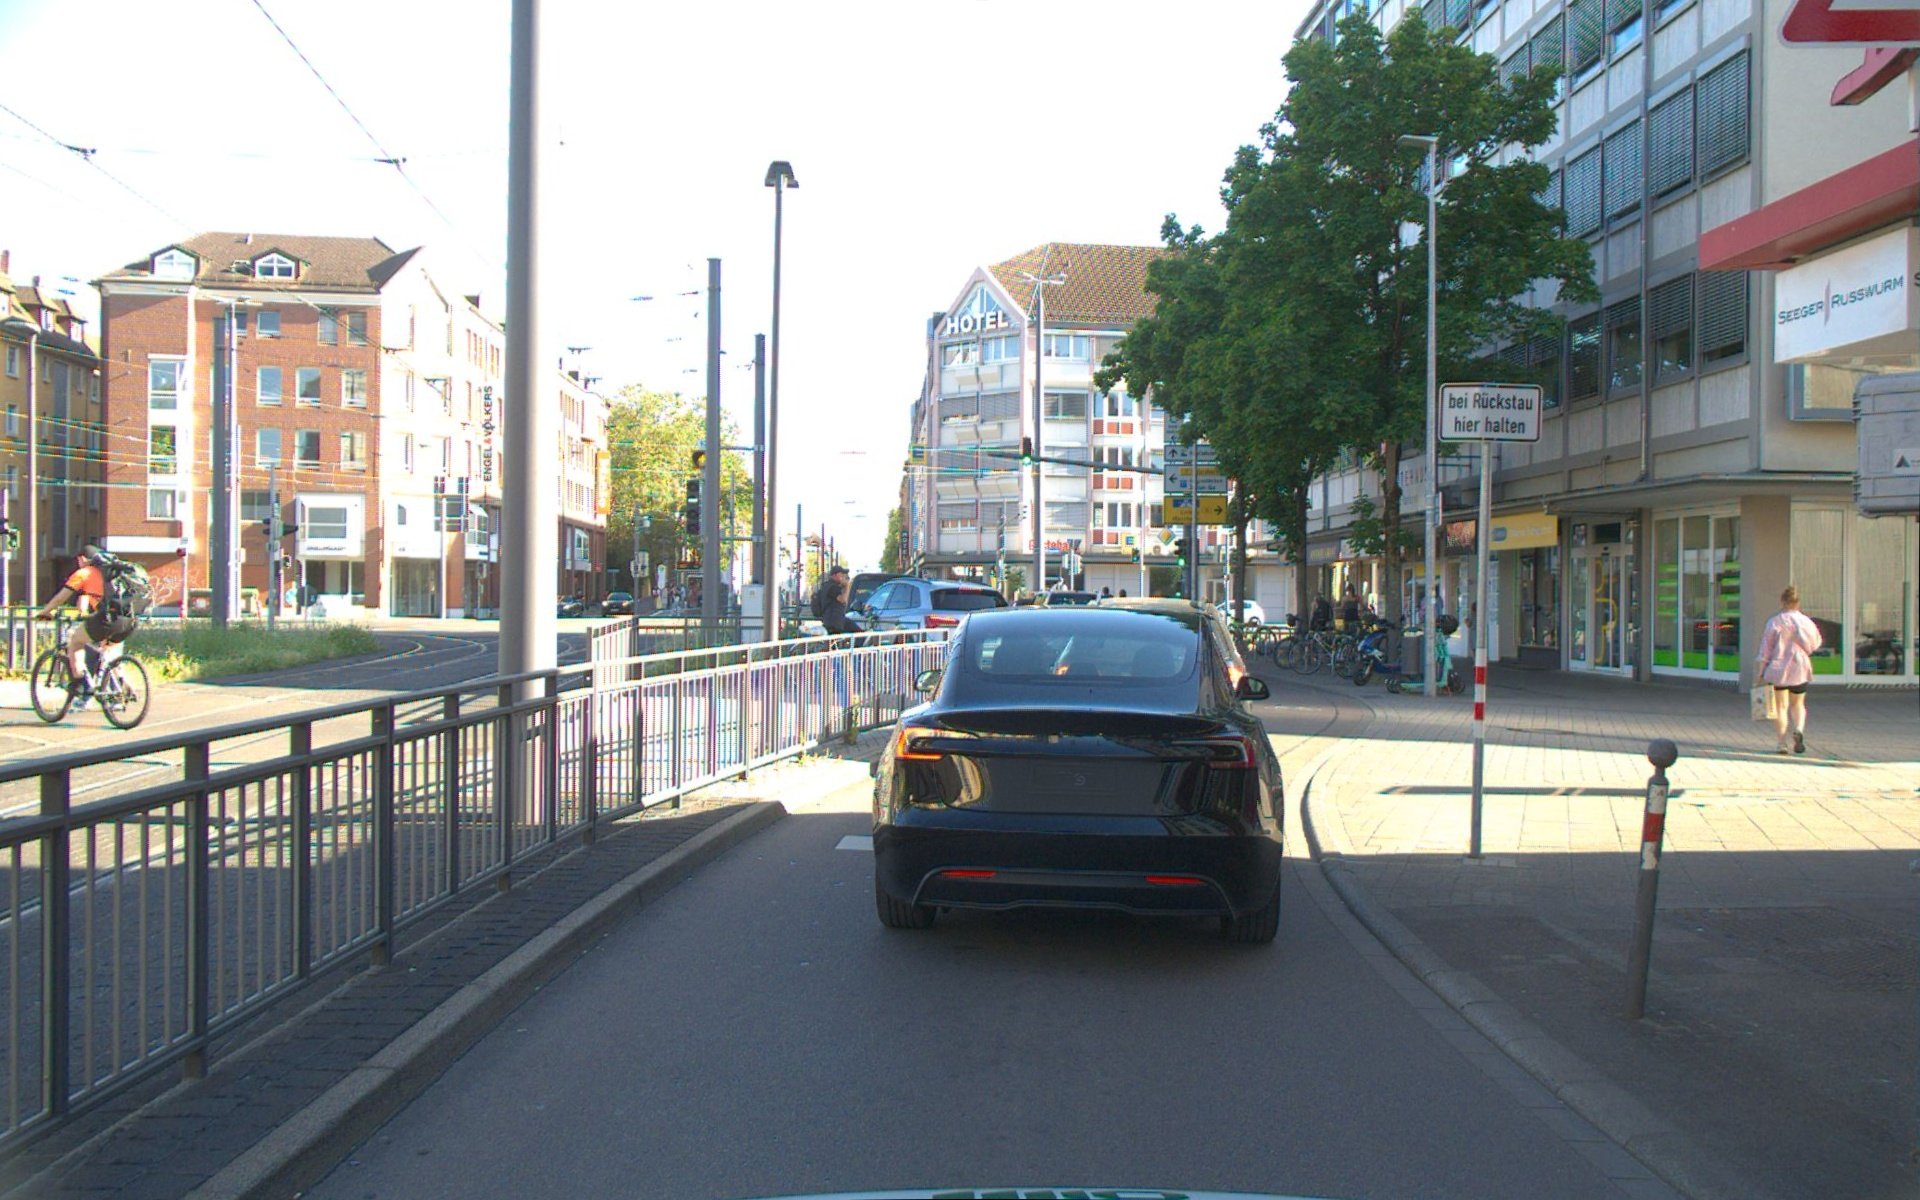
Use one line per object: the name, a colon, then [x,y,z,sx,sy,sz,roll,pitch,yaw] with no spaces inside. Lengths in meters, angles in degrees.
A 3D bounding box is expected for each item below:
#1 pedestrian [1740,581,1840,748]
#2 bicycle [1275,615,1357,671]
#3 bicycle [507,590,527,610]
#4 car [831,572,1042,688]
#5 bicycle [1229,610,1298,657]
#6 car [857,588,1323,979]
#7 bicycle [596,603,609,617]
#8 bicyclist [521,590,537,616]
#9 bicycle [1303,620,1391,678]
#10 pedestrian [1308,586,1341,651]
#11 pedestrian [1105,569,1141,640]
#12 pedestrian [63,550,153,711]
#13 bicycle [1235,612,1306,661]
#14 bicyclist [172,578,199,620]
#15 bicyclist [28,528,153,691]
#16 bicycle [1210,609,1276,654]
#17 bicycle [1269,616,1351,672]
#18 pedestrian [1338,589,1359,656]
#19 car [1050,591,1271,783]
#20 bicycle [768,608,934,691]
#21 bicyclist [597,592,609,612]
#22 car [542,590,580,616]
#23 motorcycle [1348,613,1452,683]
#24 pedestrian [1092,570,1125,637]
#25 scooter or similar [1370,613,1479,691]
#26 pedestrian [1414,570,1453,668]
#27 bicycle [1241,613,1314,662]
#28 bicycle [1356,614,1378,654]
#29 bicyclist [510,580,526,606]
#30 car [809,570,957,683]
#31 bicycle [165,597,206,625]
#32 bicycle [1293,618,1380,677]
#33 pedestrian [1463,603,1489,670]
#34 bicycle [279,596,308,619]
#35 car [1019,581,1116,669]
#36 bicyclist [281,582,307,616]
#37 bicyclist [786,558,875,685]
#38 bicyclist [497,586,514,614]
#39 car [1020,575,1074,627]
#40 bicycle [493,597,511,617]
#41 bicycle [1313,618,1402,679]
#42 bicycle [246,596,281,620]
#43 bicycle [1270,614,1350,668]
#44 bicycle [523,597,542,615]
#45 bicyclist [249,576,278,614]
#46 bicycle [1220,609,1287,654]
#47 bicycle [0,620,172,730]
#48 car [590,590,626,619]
pedestrian: [8.721,0.658,17.417,0.871,1.696,0.808,1,-1,23]
bicycle: [7.329,0.886,34.056,1.620,1.118,0.349,1,-1,-11]
bicycle: [-26.773,0.008,100.002,0.518,1.107,2.284,4,-2,1]
car: [-0.472,0.443,26.413,1.859,1.691,4.125,1,0,-25]
bicycle: [7.422,0.823,40.431,1.616,1.118,0.350,1,-1,1]
car: [0.644,0.718,8.448,1.791,1.481,4.002,1,0,4]
bicycle: [-28.870,0.789,133.663,0.518,1.107,2.225,1,0,1]
bicyclist: [-26.673,0.198,102.384,0.767,1.590,0.746,0,0,1]
bicycle: [7.376,0.933,31.538,1.620,1.079,0.349,1,-1,-11]
pedestrian: [9.595,0.490,43.566,0.685,1.691,0.777,1,-1,-1]
pedestrian: [4.765,0.133,48.346,0.902,2.049,0.972,1,-1,-1]
pedestrian: [-9.287,0.333,18.049,0.579,1.710,0.774,1,-1,-3]
bicycle: [7.393,0.870,39.417,1.616,1.118,0.350,1,-1,1]
bicyclist: [-28.272,-0.033,60.401,0.620,1.529,0.696,1,-1,-1]
bicyclist: [-8.453,0.085,16.081,1.018,1.548,0.392,1,-1,10]
bicycle: [7.287,0.804,42.569,1.616,1.118,0.350,1,-1,1]
bicycle: [7.089,0.890,33.485,1.620,1.118,0.349,1,-1,-11]
pedestrian: [10.275,0.597,43.704,0.515,1.740,0.404,1,-1,12]
car: [1.769,0.672,15.024,1.714,1.480,4.003,1,0,6]
bicycle: [-1.454,0.657,22.464,2.313,1.072,0.622,1,-1,-39]
bicyclist: [-28.856,0.155,133.764,0.767,1.590,0.746,1,-1,1]
car: [-24.673,0.160,102.418,1.677,1.553,4.031,1,0,-5]
motorcycle: [7.802,0.843,29.360,1.673,1.194,0.541,1,-1,-3]
pedestrian: [4.601,0.110,51.374,0.902,2.049,0.972,1,-1,-1]
scooter or similar: [7.656,0.842,27.283,1.610,1.236,0.644,1,-1,30]
pedestrian: [10.015,0.402,34.974,0.648,2.049,0.579,1,-1,1]
bicycle: [7.377,0.868,38.390,1.616,1.118,0.350,1,-1,1]
bicycle: [10.697,0.886,43.518,0.325,1.052,1.257,1,0,3]
bicyclist: [-26.795,-0.430,100.228,0.767,1.590,0.746,0,0,1]
car: [-1.576,0.488,32.416,1.962,2.049,3.981,0,0,-17]
bicycle: [-28.271,0.386,60.416,0.437,0.988,2.246,1,0,-1]
bicycle: [7.272,0.912,31.960,1.620,1.118,0.349,1,-1,-11]
pedestrian: [10.775,0.759,34.553,0.381,1.367,0.513,1,-1,1]
bicycle: [-29.684,0.331,73.661,0.396,0.998,1.695,1,0,7]
car: [2.309,0.528,36.453,1.567,1.809,3.977,1,0,-5]
bicyclist: [-29.676,-0.028,73.669,0.689,1.496,0.973,0,0,7]
bicyclist: [-1.739,0.282,22.179,0.753,1.657,0.964,1,-1,-39]
bicyclist: [-26.748,-0.003,97.288,0.768,1.590,0.746,1,-1,-3]
car: [3.120,0.041,60.123,1.685,1.781,3.753,1,0,-1]
bicycle: [-26.768,0.411,96.728,0.526,1.107,2.223,1,0,-2]
bicycle: [7.473,0.921,31.118,1.620,1.118,0.349,1,-1,-11]
bicycle: [-28.351,0.324,67.341,0.513,0.988,2.246,1,0,-1]
bicycle: [7.493,0.875,35.439,1.616,1.118,0.350,1,-1,1]
bicycle: [-26.637,0.373,102.997,0.518,1.107,2.284,2,0,1]
bicyclist: [-28.340,-0.195,67.317,0.880,1.529,0.696,1,-1,-1]
bicycle: [7.357,0.779,41.477,1.616,1.118,0.350,0,0,1]
bicycle: [-8.509,0.717,16.092,1.563,1.011,0.404,1,-1,10]
car: [-22.485,0.278,105.702,1.663,1.762,3.704,1,0,-3]
